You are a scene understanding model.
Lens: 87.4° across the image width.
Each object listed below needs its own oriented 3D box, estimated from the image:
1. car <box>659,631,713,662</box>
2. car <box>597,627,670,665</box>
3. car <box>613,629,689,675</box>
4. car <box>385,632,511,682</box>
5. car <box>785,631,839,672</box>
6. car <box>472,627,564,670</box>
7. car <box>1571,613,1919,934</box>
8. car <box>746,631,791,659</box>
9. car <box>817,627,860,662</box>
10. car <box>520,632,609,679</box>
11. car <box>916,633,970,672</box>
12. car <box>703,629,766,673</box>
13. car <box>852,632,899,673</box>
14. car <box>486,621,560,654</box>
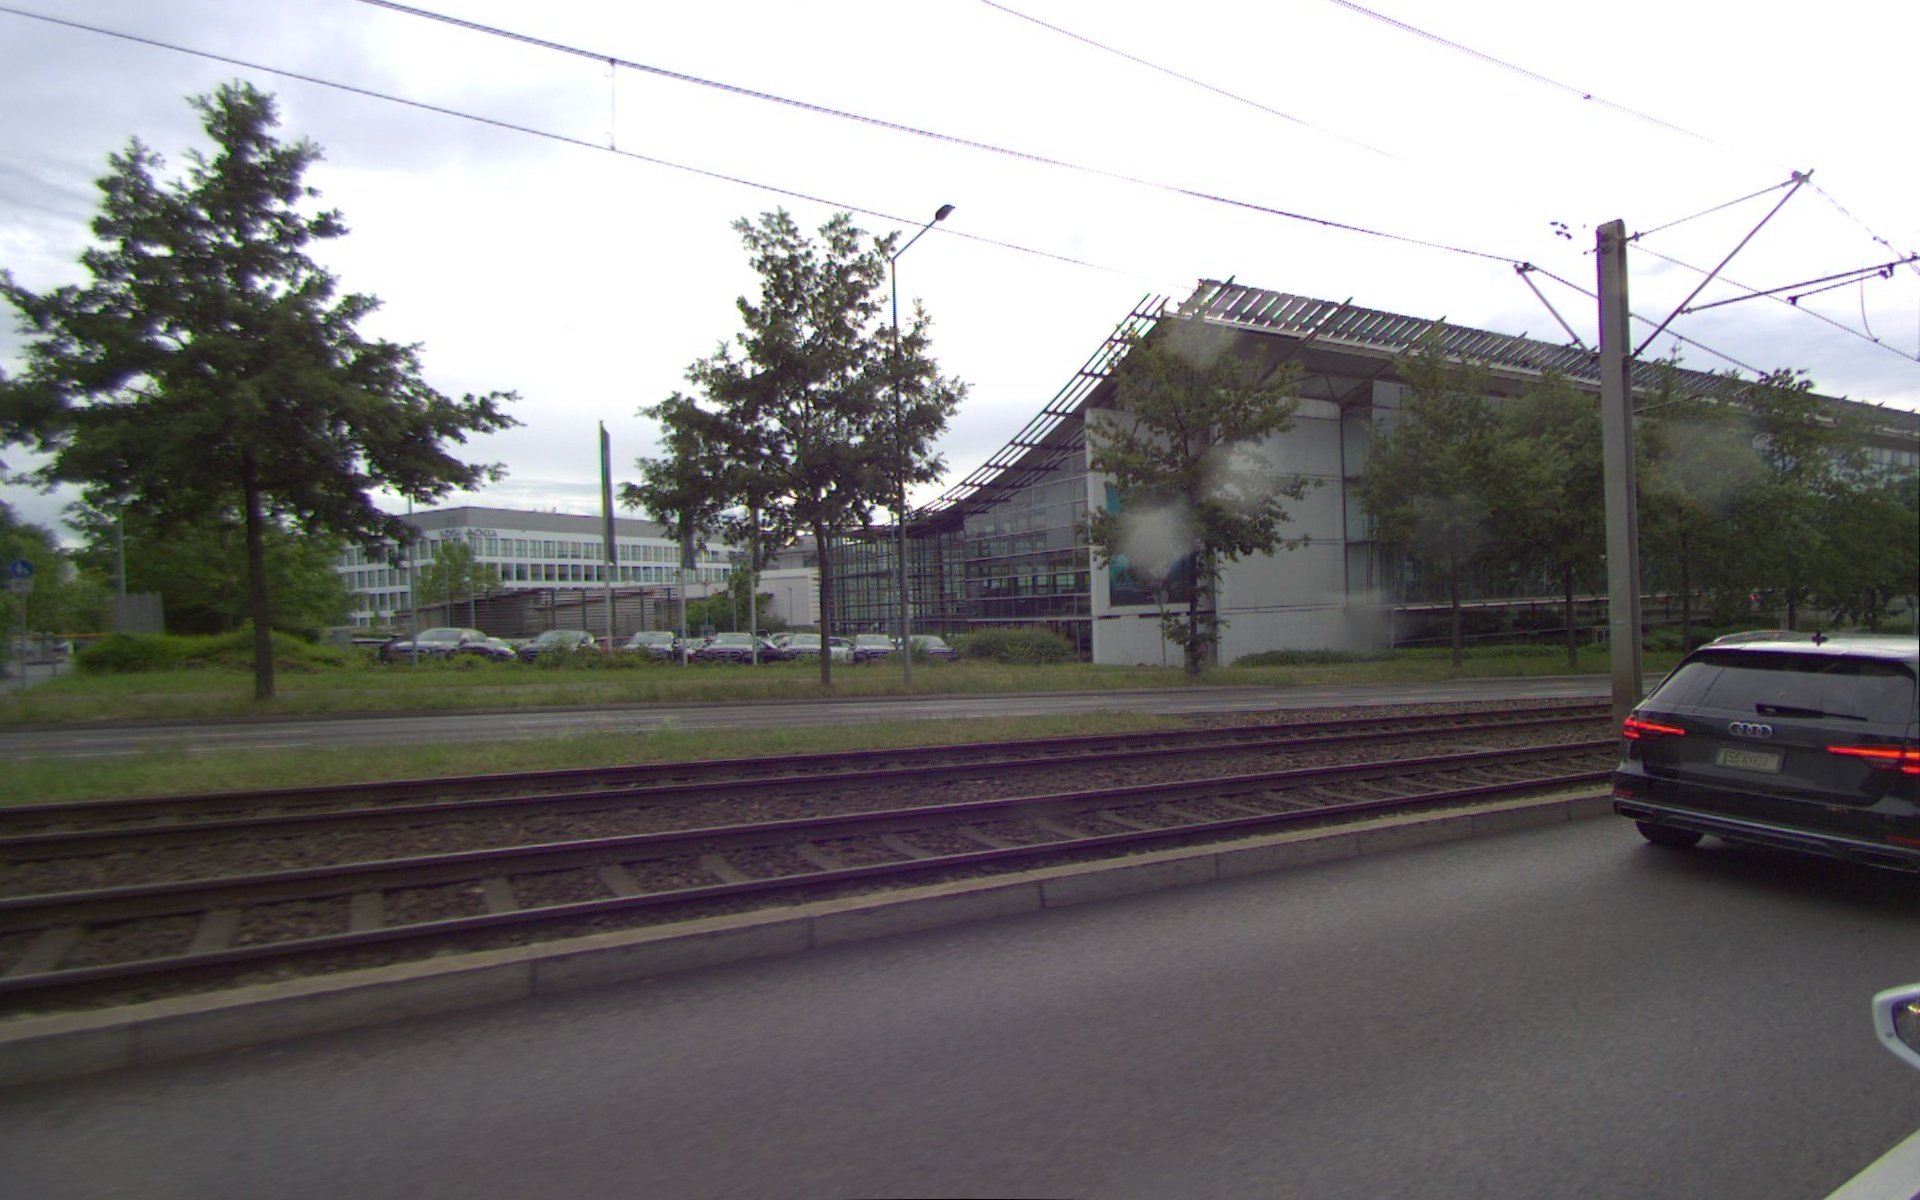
[{"bbox_3d":[-14.666,2.460,53.933,1.768,1.409,4.000,2,0,0],"label":"car"},{"bbox_3d":[-13.820,1.925,42.751,1.768,1.409,4.000,2,0,0],"label":"car"},{"bbox_3d":[-11.154,1.846,36.496,1.769,1.409,3.997,2,0,-4],"label":"car"},{"bbox_3d":[-16.651,1.813,32.911,1.767,1.409,4.002,2,0,6],"label":"car"},{"bbox_3d":[-5.794,1.990,39.612,1.769,1.409,3.997,2,0,-4],"label":"car"},{"bbox_3d":[-17.030,1.840,38.900,1.768,1.409,4.000,2,0,0],"label":"car"},{"bbox_3d":[6.175,0.874,6.599,4.573,1.483,1.755,1,1,-31],"label":"car"},{"bbox_3d":[-10.986,2.590,57.907,1.768,1.409,4.000,2,0,0],"label":"car"},{"bbox_3d":[-5.605,2.030,46.740,1.769,1.409,3.997,2,0,-4],"label":"car"},{"bbox_3d":[-13.846,1.924,35.422,1.769,1.409,3.997,2,0,-4],"label":"car"},{"bbox_3d":[-0.779,2.183,42.339,1.770,1.409,3.994,2,0,-8],"label":"car"},{"bbox_3d":[-8.480,1.897,38.063,1.731,1.409,3.997,2,0,-4],"label":"car"},{"bbox_3d":[-3.410,2.102,40.852,1.769,1.409,3.997,2,0,-4],"label":"car"},{"bbox_3d":[-20.897,1.768,48.196,1.768,1.409,4.000,2,0,0],"label":"car"}]
